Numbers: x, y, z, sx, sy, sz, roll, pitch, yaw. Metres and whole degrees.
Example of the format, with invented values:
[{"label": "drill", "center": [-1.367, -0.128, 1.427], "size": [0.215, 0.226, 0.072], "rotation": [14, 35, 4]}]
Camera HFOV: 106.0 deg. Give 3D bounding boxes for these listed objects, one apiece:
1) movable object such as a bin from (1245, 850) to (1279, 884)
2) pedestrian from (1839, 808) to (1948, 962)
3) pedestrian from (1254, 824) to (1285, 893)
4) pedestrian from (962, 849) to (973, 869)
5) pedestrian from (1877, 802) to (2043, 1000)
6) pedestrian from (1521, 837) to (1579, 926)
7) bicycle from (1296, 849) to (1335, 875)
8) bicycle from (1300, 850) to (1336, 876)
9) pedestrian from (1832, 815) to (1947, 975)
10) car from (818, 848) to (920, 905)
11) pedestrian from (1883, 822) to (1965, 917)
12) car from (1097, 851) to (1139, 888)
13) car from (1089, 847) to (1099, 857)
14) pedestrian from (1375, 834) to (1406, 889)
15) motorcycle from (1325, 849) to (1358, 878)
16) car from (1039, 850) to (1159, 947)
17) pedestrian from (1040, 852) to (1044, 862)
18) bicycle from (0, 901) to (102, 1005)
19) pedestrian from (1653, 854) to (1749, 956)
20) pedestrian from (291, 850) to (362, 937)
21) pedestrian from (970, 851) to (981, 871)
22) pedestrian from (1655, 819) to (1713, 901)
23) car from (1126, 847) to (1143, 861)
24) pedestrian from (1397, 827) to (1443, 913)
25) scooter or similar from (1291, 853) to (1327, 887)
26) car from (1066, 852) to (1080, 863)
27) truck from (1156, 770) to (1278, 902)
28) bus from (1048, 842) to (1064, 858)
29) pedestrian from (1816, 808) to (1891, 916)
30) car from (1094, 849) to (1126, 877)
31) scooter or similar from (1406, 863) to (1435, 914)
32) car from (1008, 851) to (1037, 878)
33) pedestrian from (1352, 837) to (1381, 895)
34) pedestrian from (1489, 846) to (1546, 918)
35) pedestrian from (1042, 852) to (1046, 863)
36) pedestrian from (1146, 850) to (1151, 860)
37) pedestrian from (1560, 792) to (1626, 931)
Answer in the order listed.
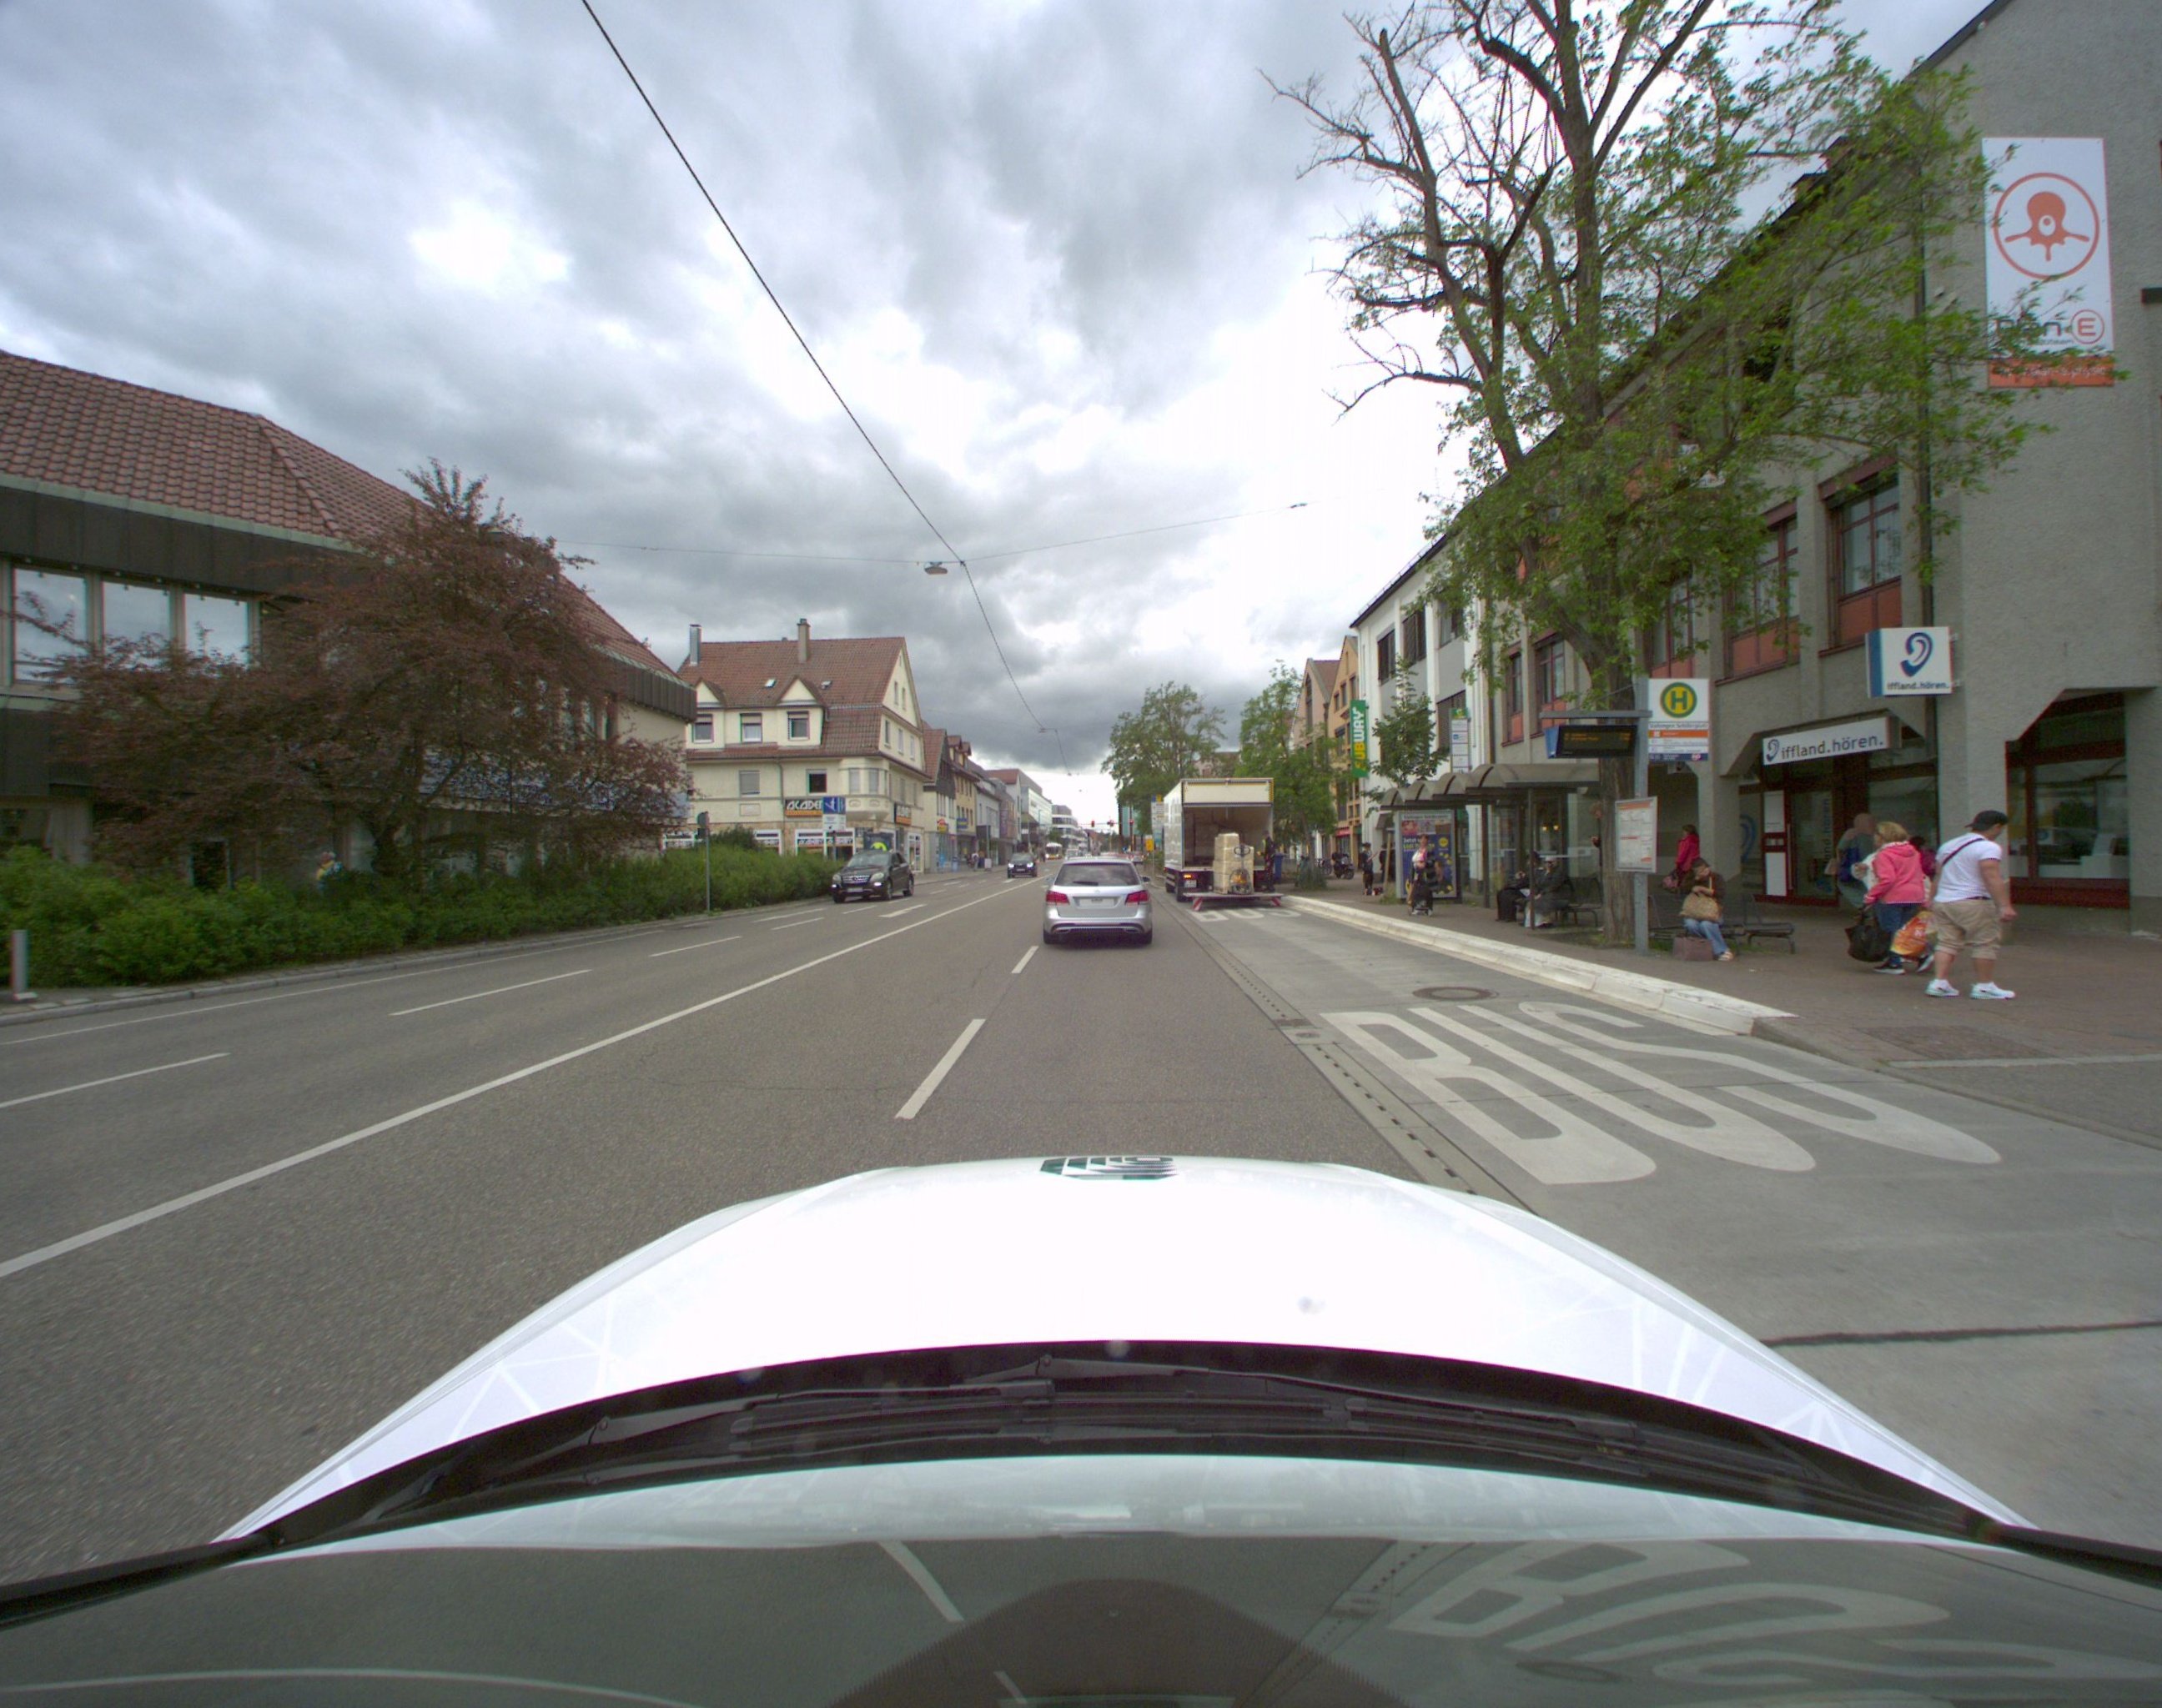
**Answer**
[{"label": "movable object such as a bin", "center": [7.434, 0.539, 33.431], "size": [1.138, 1.339, 1.377], "rotation": [-1, 0, 4]}, {"label": "pedestrian", "center": [8.916, 0.331, 8.960], "size": [0.610, 1.634, 0.589], "rotation": [0, 0, 6]}, {"label": "pedestrian", "center": [4.965, 0.123, 21.503], "size": [0.611, 1.780, 0.587], "rotation": [-2, -1, -2]}, {"label": "pedestrian", "center": [-10.100, 0.434, 72.494], "size": [0.865, 1.746, 0.805], "rotation": [2, 0, -3]}, {"label": "pedestrian", "center": [7.741, 0.383, 7.201], "size": [0.612, 1.634, 0.792], "rotation": [-1, 1, -7]}, {"label": "pedestrian", "center": [7.628, 0.437, 13.269], "size": [0.608, 1.401, 0.590], "rotation": [-3, -1, 15]}, {"label": "bicycle", "center": [12.403, 0.421, 43.100], "size": [1.811, 1.326, 0.843], "rotation": [-1, 0, -2]}, {"label": "bicycle", "center": [12.282, 0.461, 42.207], "size": [1.670, 1.259, 0.669], "rotation": [-1, 0, -2]}, {"label": "pedestrian", "center": [8.225, 0.395, 8.312], "size": [0.666, 1.567, 0.494], "rotation": [1, 2, 22]}, {"label": "car", "center": [-7.419, 0.723, 29.024], "size": [2.060, 1.738, 4.697], "rotation": [-3, 0, 3]}, {"label": "pedestrian", "center": [12.531, 0.229, 12.118], "size": [0.583, 1.375, 0.615], "rotation": [-1, 0, 4]}, {"label": "car", "center": [1.635, 0.650, 36.285], "size": [1.748, 1.521, 4.002], "rotation": [-1, 0, 2]}, {"label": "car", "center": [2.677, -0.444, 164.211], "size": [1.986, 2.013, 4.002], "rotation": [-1, 0, 2]}, {"label": "pedestrian", "center": [9.174, 0.226, 24.157], "size": [0.618, 1.611, 0.581], "rotation": [0, -2, -43]}, {"label": "motorcycle", "center": [11.705, 0.419, 36.636], "size": [0.735, 1.270, 2.106], "rotation": [-2, 0, -2]}, {"label": "car", "center": [0.299, 0.700, 14.784], "size": [1.868, 1.506, 4.000], "rotation": [0, 0, 0]}, {"label": "pedestrian", "center": [-6.207, 0.448, 129.891], "size": [0.611, 1.634, 0.588], "rotation": [2, 0, 0]}, {"label": "bicycle", "center": [-12.569, 1.123, 9.185], "size": [2.016, 1.090, 0.647], "rotation": [-1, 0, -8]}, {"label": "pedestrian", "center": [7.379, 0.590, 9.716], "size": [0.710, 1.166, 0.587], "rotation": [0, 1, -5]}, {"label": "pedestrian", "center": [-16.017, 0.809, 17.303], "size": [0.722, 1.764, 0.757], "rotation": [3, 0, 6]}, {"label": "pedestrian", "center": [-9.064, 0.596, 70.079], "size": [0.815, 1.634, 0.979], "rotation": [1, 0, -4]}, {"label": "pedestrian", "center": [12.298, 0.117, 16.618], "size": [0.725, 1.634, 0.613], "rotation": [-1, 0, -7]}, {"label": "car", "center": [6.755, 0.012, 103.094], "size": [1.986, 1.684, 4.002], "rotation": [-1, 0, 2]}, {"label": "pedestrian", "center": [6.611, 0.298, 15.889], "size": [0.537, 1.634, 0.583], "rotation": [2, 0, -23]}, {"label": "scooter or similar", "center": [8.458, 0.582, 30.221], "size": [1.175, 1.196, 0.459], "rotation": [-1, 0, -8]}, {"label": "car", "center": [-1.136, 0.503, 116.629], "size": [1.610, 1.428, 3.925], "rotation": [-2, 0, 3]}, {"label": "truck", "center": [4.185, -0.517, 27.222], "size": [2.678, 3.561, 9.771], "rotation": [-1, 0, 2]}, {"label": "bus", "center": [-5.210, -0.772, 168.454], "size": [2.764, 3.165, 5.936], "rotation": [-1, 0, 2]}, {"label": "pedestrian", "center": [11.989, 0.124, 12.656], "size": [0.583, 1.634, 0.615], "rotation": [-1, 0, 3]}, {"label": "car", "center": [1.882, 0.548, 53.145], "size": [1.986, 1.684, 4.002], "rotation": [-1, 0, 2]}, {"label": "scooter or similar", "center": [6.468, 0.651, 15.522], "size": [0.387, 0.959, 0.351], "rotation": [-2, 0, -39]}, {"label": "car", "center": [-3.589, 0.634, 50.602], "size": [1.565, 1.540, 2.960], "rotation": [-2, 0, 0]}, {"label": "pedestrian", "center": [8.812, 0.358, 25.126], "size": [0.611, 1.740, 0.587], "rotation": [2, 0, -2]}, {"label": "pedestrian", "center": [7.792, 0.494, 14.571], "size": [0.695, 1.232, 0.590], "rotation": [-3, -1, 11]}, {"label": "pedestrian", "center": [-5.820, 0.585, 129.054], "size": [0.611, 1.634, 0.588], "rotation": [2, 0, 0]}, {"label": "pedestrian", "center": [10.641, 0.123, 128.263], "size": [0.612, 1.634, 0.586], "rotation": [2, 0, -7]}, {"label": "pedestrian", "center": [7.796, 0.120, 12.433], "size": [0.608, 2.047, 0.590], "rotation": [-3, -1, 15]}]
